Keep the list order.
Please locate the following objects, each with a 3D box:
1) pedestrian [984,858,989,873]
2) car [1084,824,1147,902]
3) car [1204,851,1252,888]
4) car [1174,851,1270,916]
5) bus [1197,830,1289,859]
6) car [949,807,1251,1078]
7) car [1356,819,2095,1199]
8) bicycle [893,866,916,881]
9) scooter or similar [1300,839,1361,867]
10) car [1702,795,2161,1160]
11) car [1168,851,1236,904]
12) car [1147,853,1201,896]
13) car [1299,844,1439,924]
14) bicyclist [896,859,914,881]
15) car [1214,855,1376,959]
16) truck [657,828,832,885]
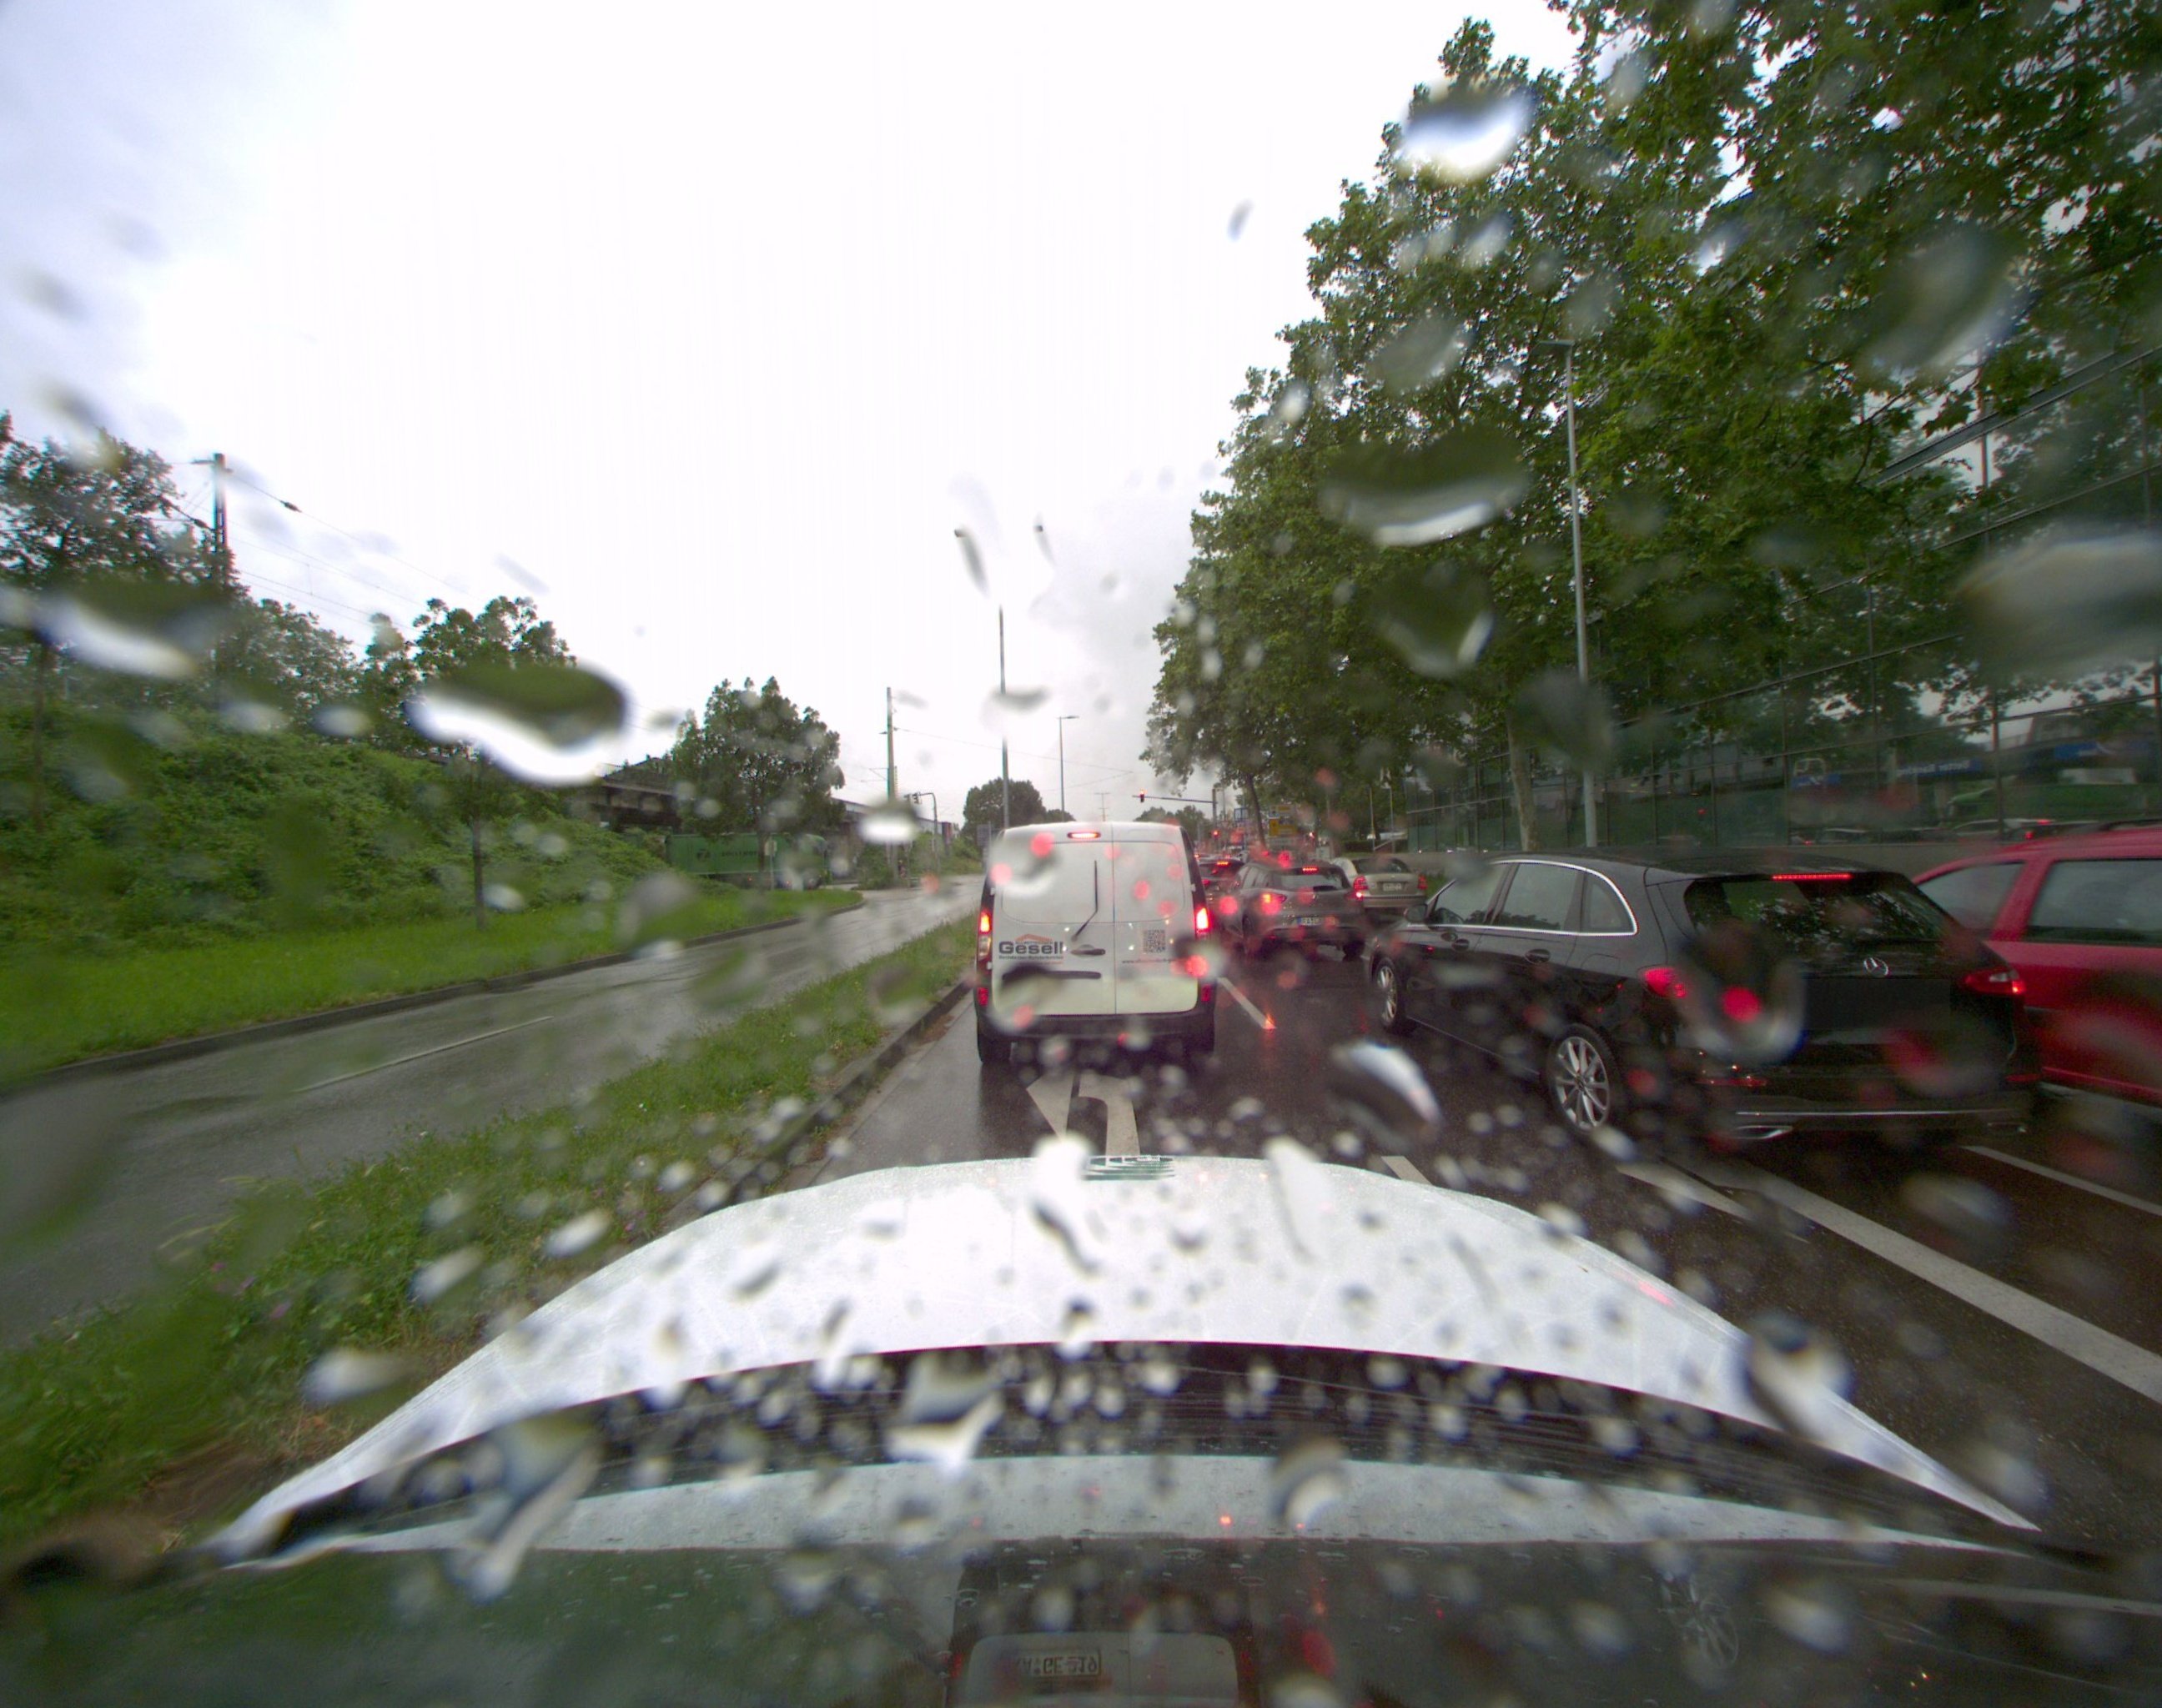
[{"bbox_3d":[-11.230,1.368,96.566,0.541,1.716,0.563,0,-1,-2],"label":"pedestrian"},{"bbox_3d":[1.110,0.261,26.454,1.847,2.296,3.844,-1,0,2],"label":"car"},{"bbox_3d":[6.912,0.713,38.607,1.702,1.650,3.844,-1,-1,2],"label":"car"},{"bbox_3d":[3.464,0.674,20.677,1.847,1.460,3.844,-1,0,2],"label":"car"},{"bbox_3d":[21.904,-1.349,110.583,11.926,3.423,2.316,-2,0,1],"label":"bus"},{"bbox_3d":[0.197,0.591,7.766,1.986,1.776,4.587,-1,0,2],"label":"car"},{"bbox_3d":[3.380,0.649,5.443,1.741,1.554,4.091,-1,0,1],"label":"car"},{"bbox_3d":[-12.134,1.334,56.012,1.045,0.952,2.866,-2,0,-22],"label":"bicycle"},{"bbox_3d":[23.459,-0.077,76.678,1.905,2.446,5.257,-1,0,-39],"label":"scooter or similar"},{"bbox_3d":[5.887,0.577,4.513,1.704,1.694,4.273,0,-1,1],"label":"car"},{"bbox_3d":[4.065,0.730,27.895,1.847,1.649,3.844,-1,0,2],"label":"car"},{"bbox_3d":[3.761,0.815,33.568,1.847,1.650,3.844,-1,-1,2],"label":"car"},{"bbox_3d":[6.345,0.587,18.422,1.869,1.613,4.002,0,0,2],"label":"car"},{"bbox_3d":[-12.117,1.085,55.968,1.045,1.450,0.723,-2,0,-23],"label":"bicyclist"},{"bbox_3d":[3.261,0.733,13.146,1.677,1.408,3.844,0,0,1],"label":"car"},{"bbox_3d":[-21.391,0.056,52.273,10.105,3.371,2.322,-2,0,-35],"label":"truck"}]
